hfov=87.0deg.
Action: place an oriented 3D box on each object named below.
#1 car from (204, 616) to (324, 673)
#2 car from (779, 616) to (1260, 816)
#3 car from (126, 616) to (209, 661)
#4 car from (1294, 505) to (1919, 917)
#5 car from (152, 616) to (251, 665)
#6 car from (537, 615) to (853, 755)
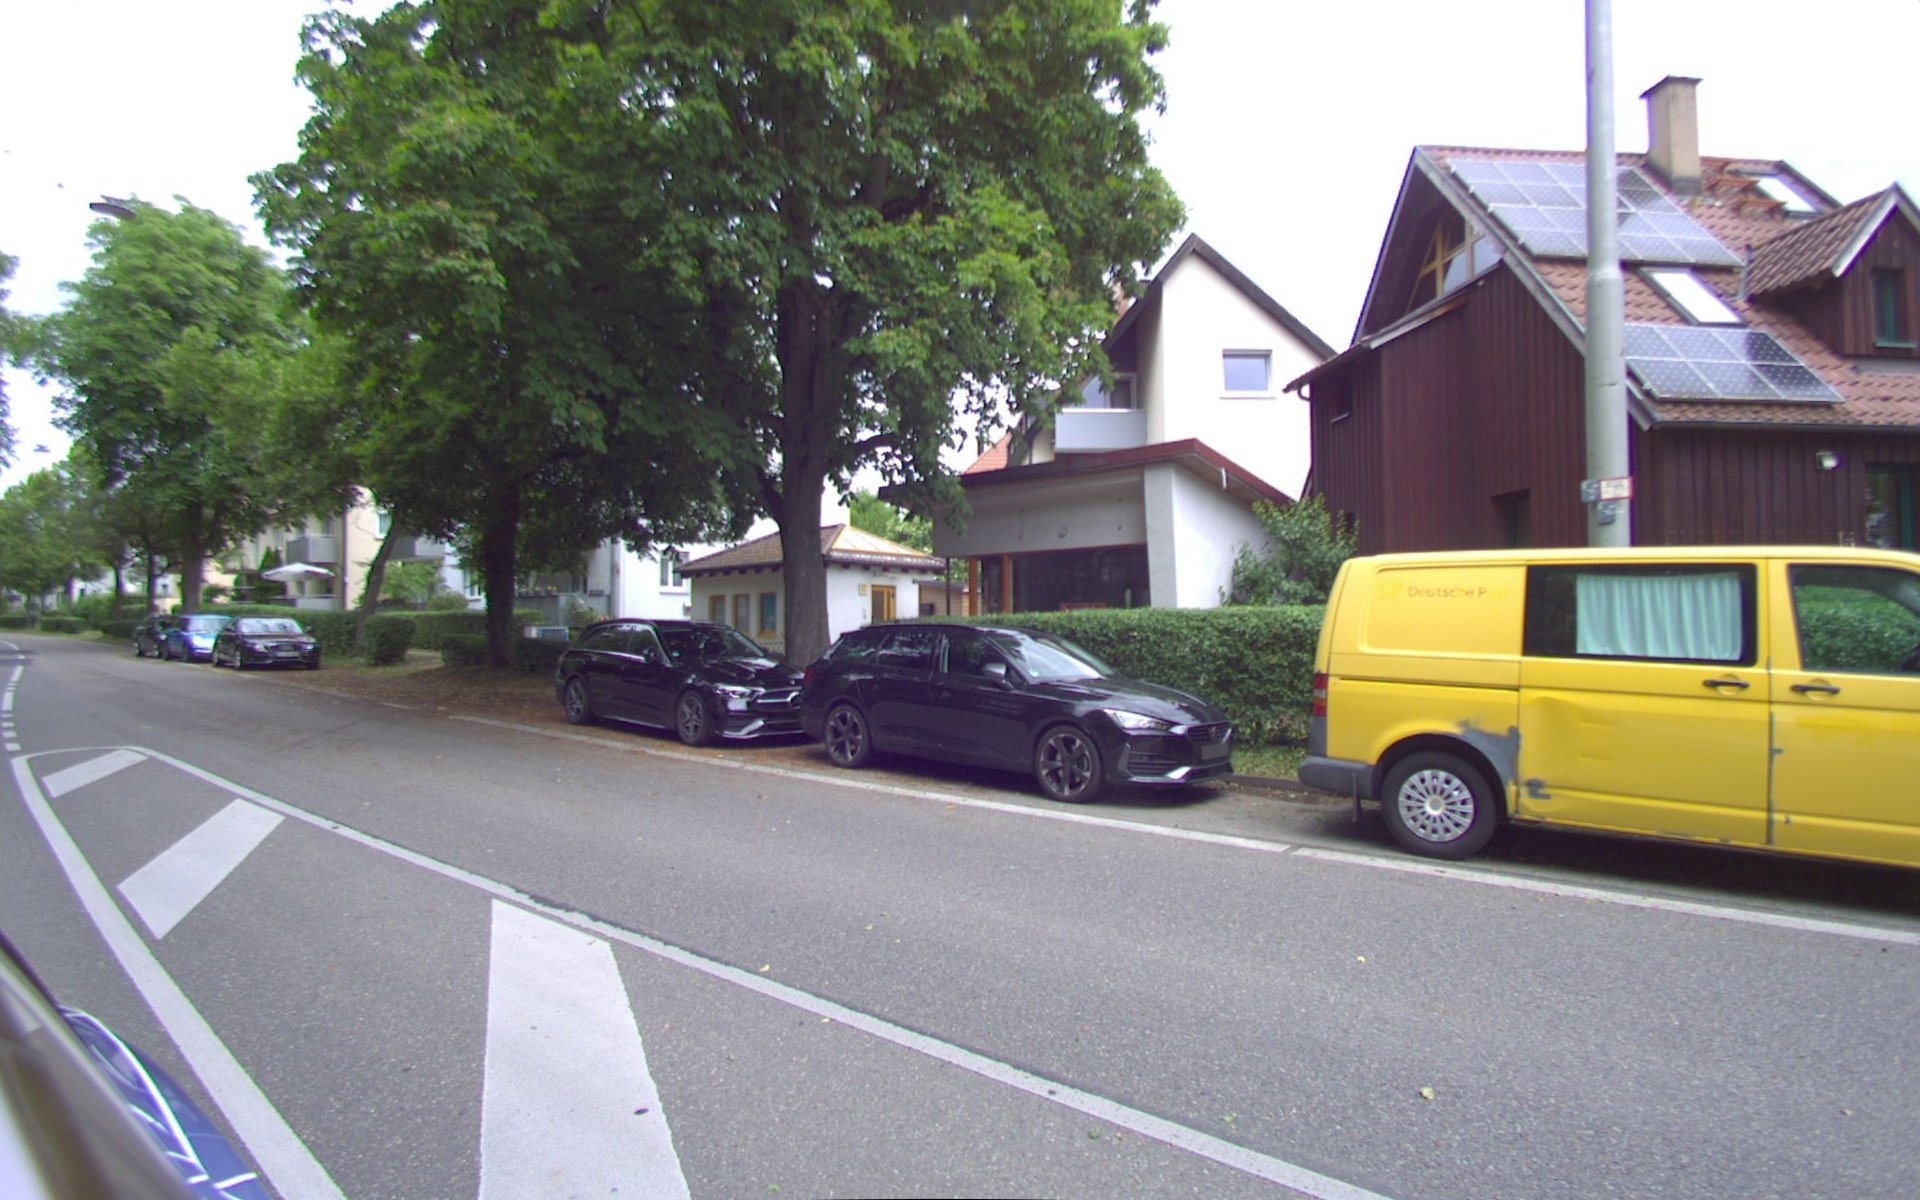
[{"bbox_3d":[-18.640,1.166,27.017,1.826,1.387,4.596,2,-3,-45],"label":"car"},{"bbox_3d":[0.368,0.911,9.681,4.512,1.461,1.726,-1,-2,42],"label":"car"},{"bbox_3d":[-26.314,1.270,33.581,3.771,1.387,1.520,-2,-3,42],"label":"car"},{"bbox_3d":[4.711,0.573,6.099,4.792,2.004,1.898,-1,-2,37],"label":"car"},{"bbox_3d":[-23.094,1.229,30.766,4.150,1.387,1.615,-2,-3,42],"label":"car"},{"bbox_3d":[-3.529,0.952,12.948,4.594,1.461,1.726,-1,-2,43],"label":"car"}]
